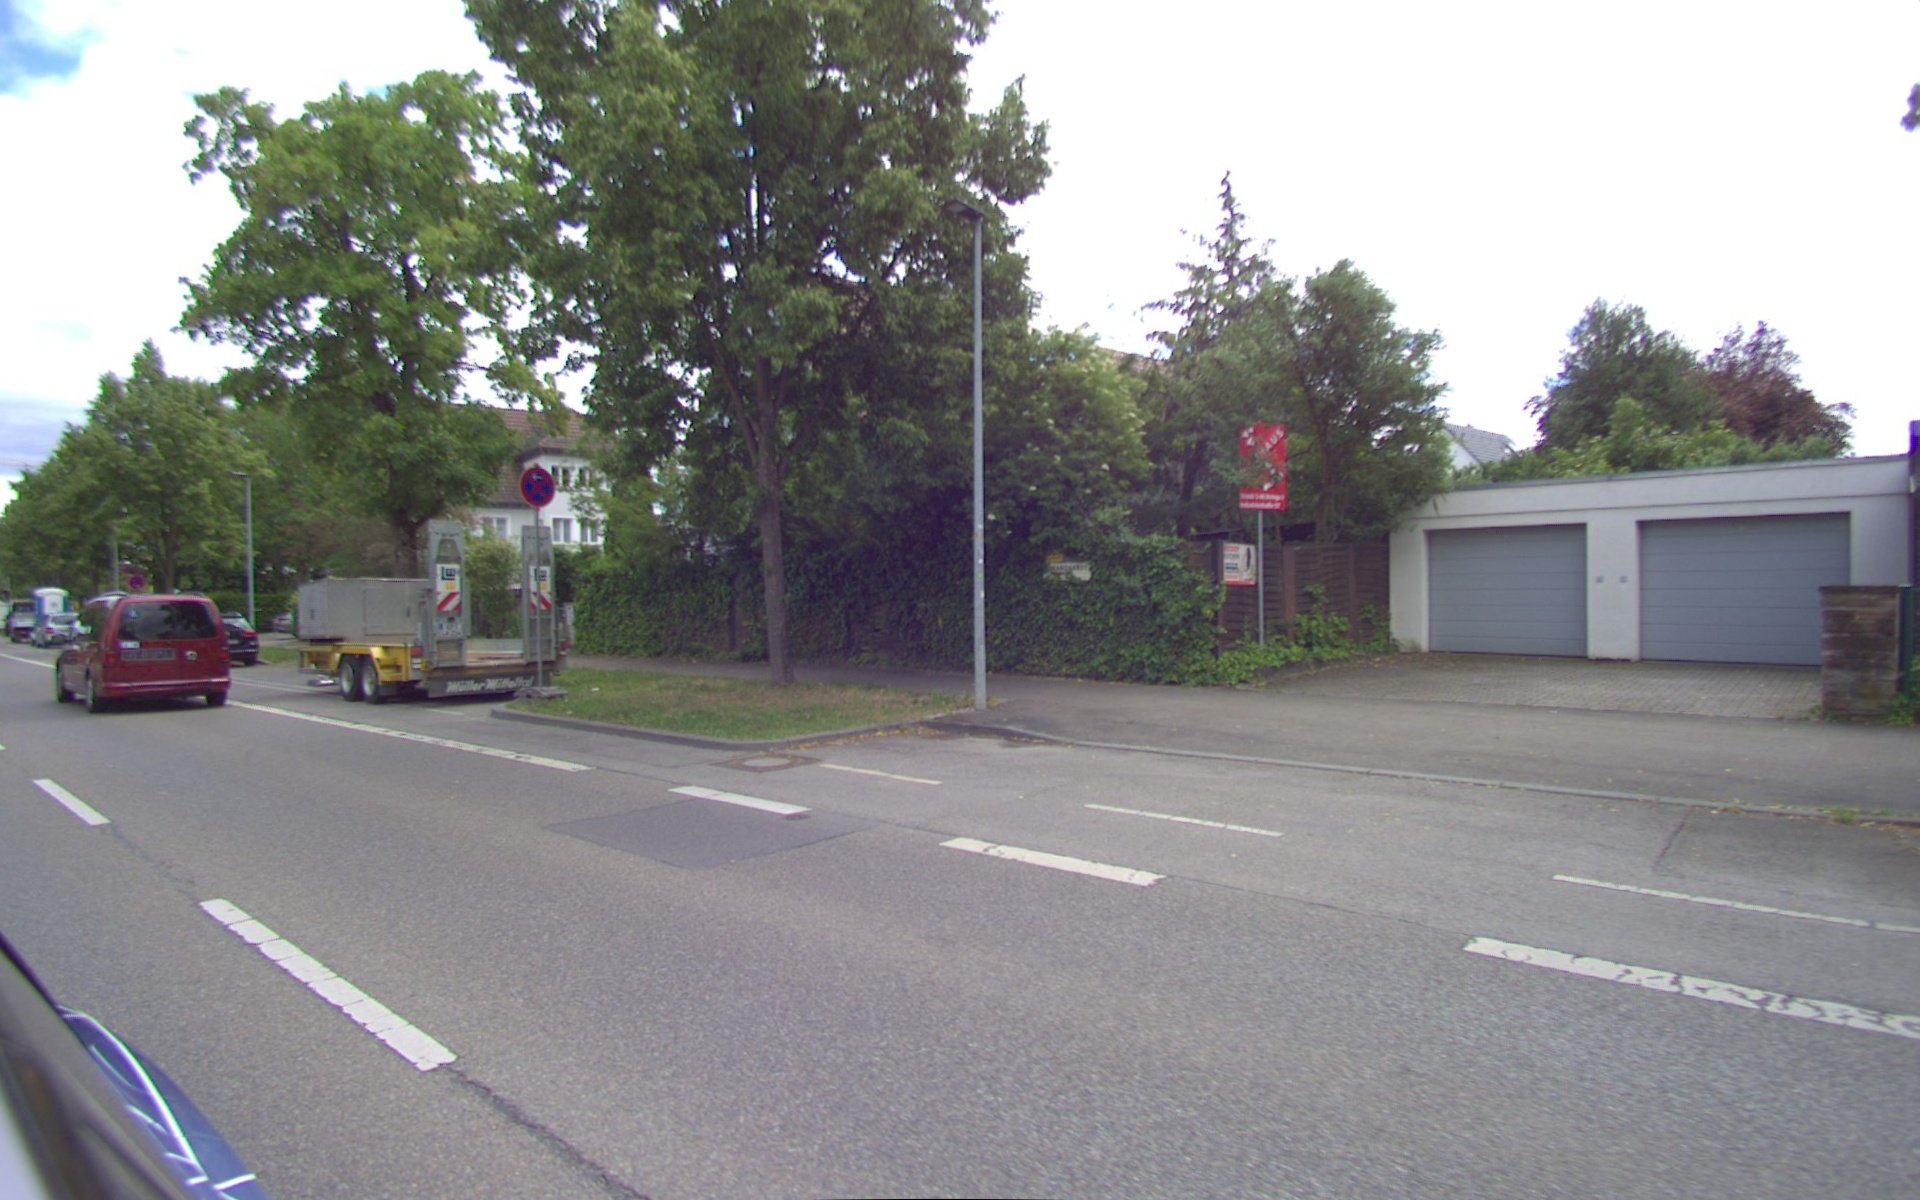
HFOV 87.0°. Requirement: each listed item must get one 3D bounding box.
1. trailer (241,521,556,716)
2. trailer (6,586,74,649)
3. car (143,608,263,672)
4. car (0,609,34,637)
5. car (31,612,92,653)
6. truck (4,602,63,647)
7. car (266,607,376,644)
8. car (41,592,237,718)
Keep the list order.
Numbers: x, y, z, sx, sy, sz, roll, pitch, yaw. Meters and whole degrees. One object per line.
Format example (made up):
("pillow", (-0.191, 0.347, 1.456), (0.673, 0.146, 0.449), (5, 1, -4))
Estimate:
("trailer", (-10.672, 0.268, 18.844), (7.470, 2.963, 2.647), (0, 1, 40))
("trailer", (-46.202, 0.858, 50.764), (2.344, 2.985, 7.016), (0, -1, -44))
("car", (-21.610, 1.069, 28.812), (4.618, 1.564, 1.841), (1, 2, 41))
("car", (-66.605, 1.582, 71.439), (1.687, 1.888, 4.402), (-1, 0, -44))
("car", (-41.191, 1.444, 46.382), (4.225, 1.696, 1.671), (0, 1, 43))
("truck", (-50.906, 1.309, 55.570), (2.268, 2.304, 6.468), (0, -1, -44))
("car", (-29.105, 1.125, 46.150), (4.029, 1.444, 1.803), (-3, 1, -41))
("car", (-13.766, 0.827, 16.857), (4.766, 1.817, 1.742), (-1, 0, 41))
